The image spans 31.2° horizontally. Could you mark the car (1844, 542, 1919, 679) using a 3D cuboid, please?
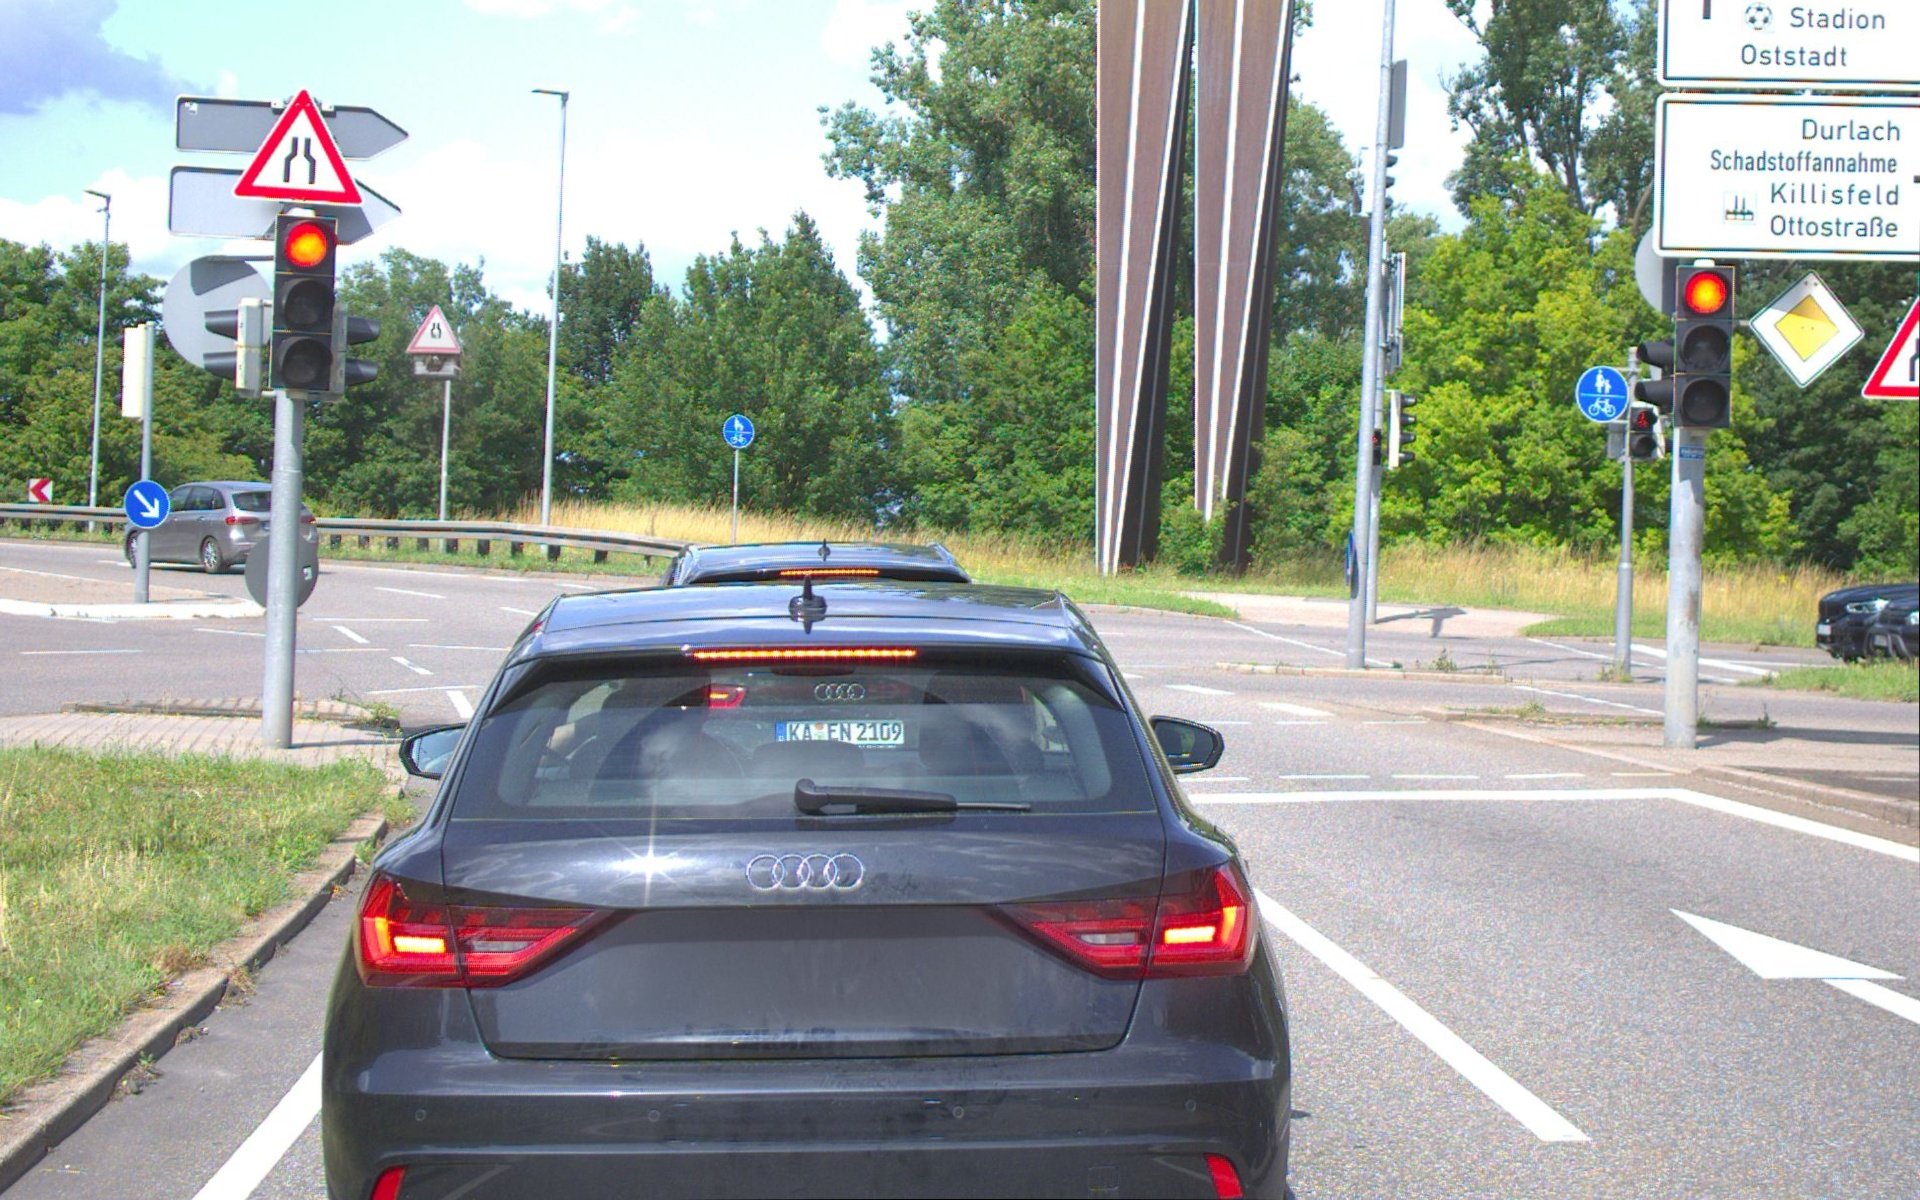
[{"bbox_3d":[12.652,0.163,39.895,4.268,1.539,1.737,2,1,-1],"label":"car"}]

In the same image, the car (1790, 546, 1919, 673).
[{"bbox_3d":[13.228,0.164,43.748,4.847,1.539,1.737,2,1,-1],"label":"car"}]

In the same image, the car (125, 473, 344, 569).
[{"bbox_3d":[-12.316,-1.350,58.224,1.994,1.491,4.119,1,1,-38],"label":"car"}]

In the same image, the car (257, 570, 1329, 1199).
[{"bbox_3d":[-0.290,0.667,7.553,1.726,1.399,4.000,0,1,-1],"label":"car"}]

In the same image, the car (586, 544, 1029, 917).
[{"bbox_3d":[-0.746,0.476,15.353,1.726,1.418,3.845,0,1,-5],"label":"car"}]
